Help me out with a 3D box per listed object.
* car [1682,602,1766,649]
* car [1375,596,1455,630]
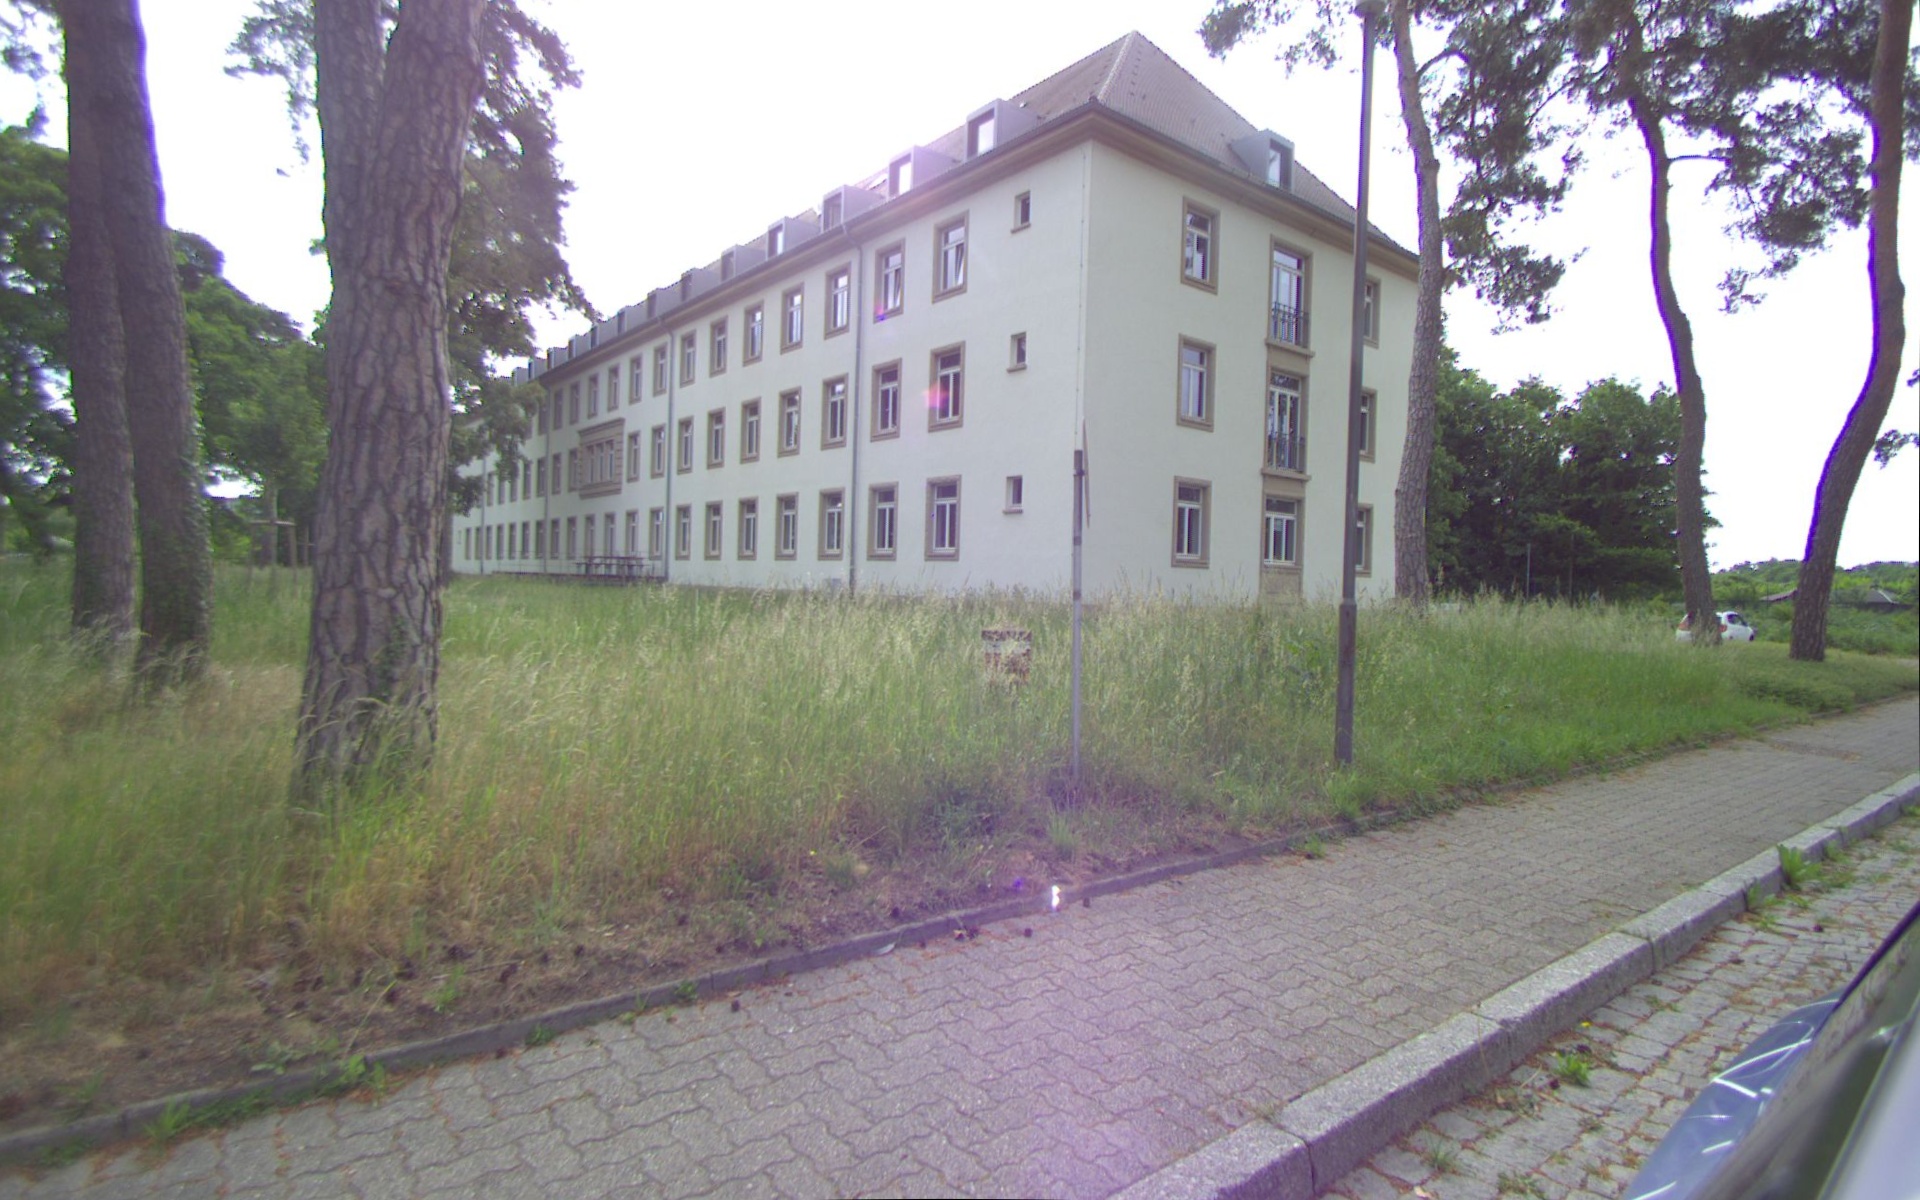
[{"bbox_3d":[27.482,0.884,36.391,3.219,1.451,1.641,-2,3,-39],"label":"car"},{"bbox_3d":[20.305,0.552,45.119,3.928,1.345,1.641,-2,2,-39],"label":"car"}]
